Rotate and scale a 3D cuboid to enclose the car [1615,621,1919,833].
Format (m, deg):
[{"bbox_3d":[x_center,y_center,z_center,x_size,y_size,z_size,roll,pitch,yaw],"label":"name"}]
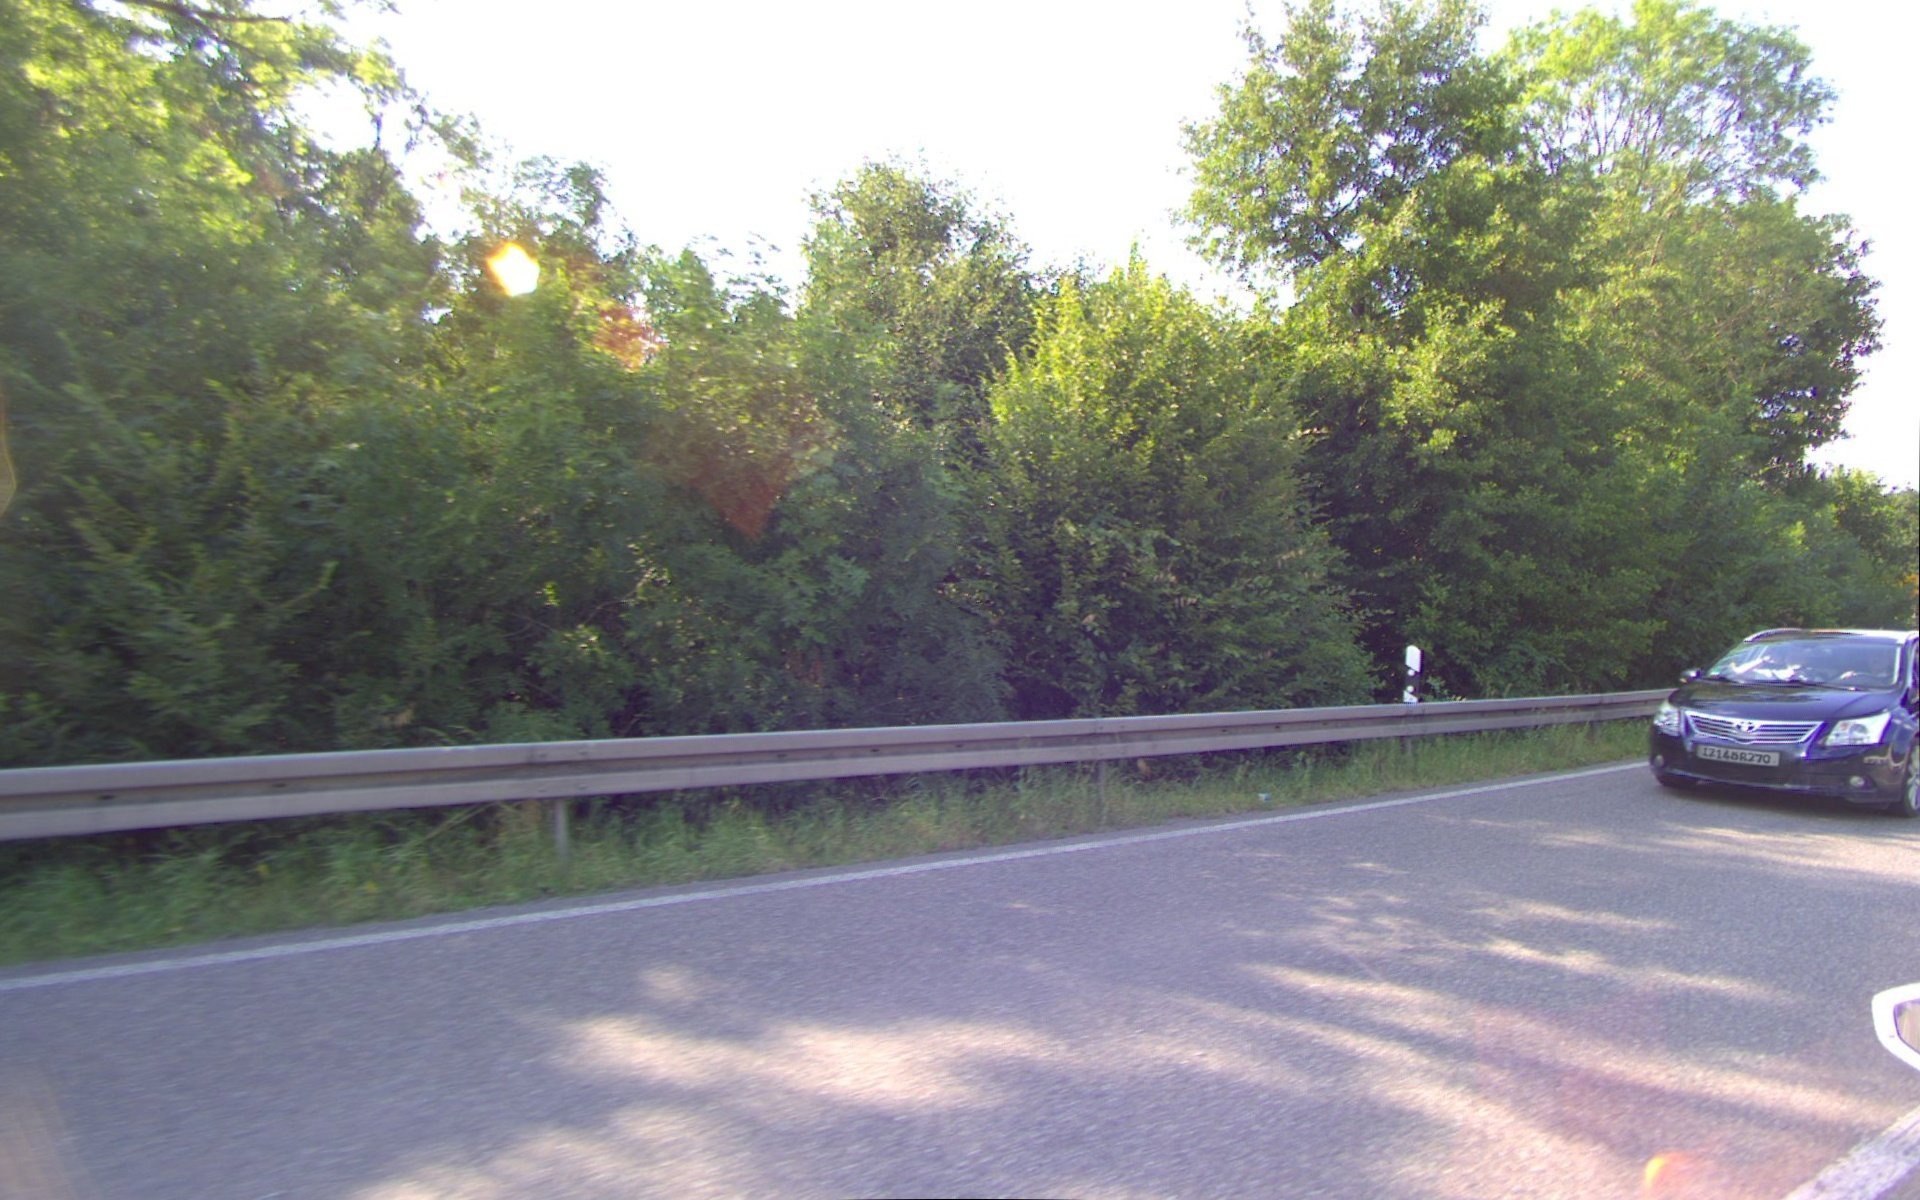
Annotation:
[{"bbox_3d":[8.060,0.978,9.359,4.360,1.528,1.838,1,-1,-36],"label":"car"}]

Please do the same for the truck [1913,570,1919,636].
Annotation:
[{"bbox_3d":[60.073,0.169,59.882,3.402,4.141,6.475,2,0,32],"label":"truck"}]
